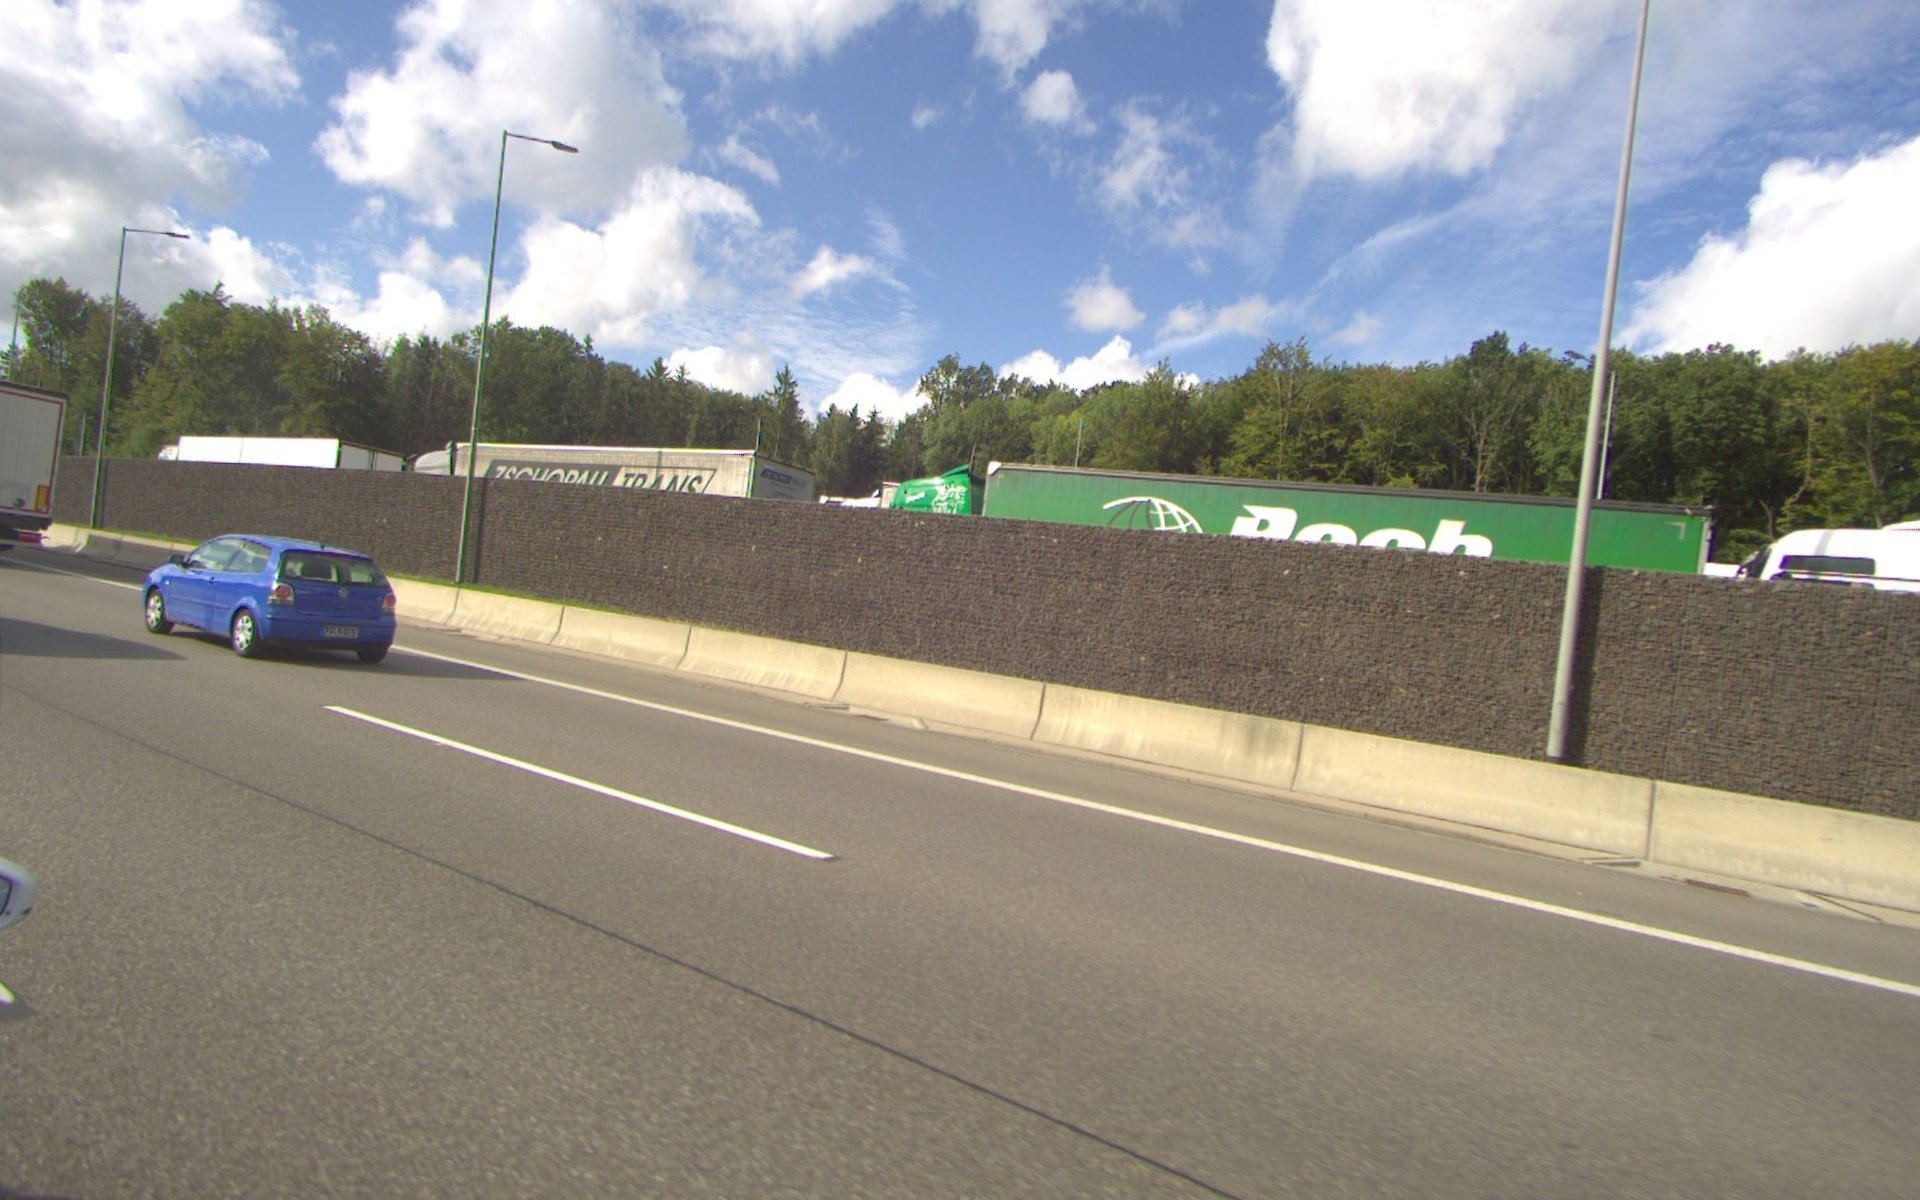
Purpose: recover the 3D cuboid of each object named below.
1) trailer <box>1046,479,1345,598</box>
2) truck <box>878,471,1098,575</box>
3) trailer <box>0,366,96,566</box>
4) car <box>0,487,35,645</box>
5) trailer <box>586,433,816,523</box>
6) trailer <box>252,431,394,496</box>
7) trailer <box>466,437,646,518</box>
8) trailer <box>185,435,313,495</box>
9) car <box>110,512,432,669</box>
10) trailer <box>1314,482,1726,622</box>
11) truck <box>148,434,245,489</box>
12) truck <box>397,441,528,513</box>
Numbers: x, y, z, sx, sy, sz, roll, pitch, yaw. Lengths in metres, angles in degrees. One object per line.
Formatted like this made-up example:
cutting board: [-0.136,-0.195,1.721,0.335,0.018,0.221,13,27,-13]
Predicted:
trailer: [4.890,-1.339,21.275,5.680,2.037,1.998,5,-3,31]
truck: [0.624,-1.846,23.963,4.704,2.037,2.049,4,-3,33]
trailer: [-26.409,-3.403,25.081,13.662,4.081,3.044,4,-2,32]
car: [-11.885,-0.646,10.584,4.568,1.559,1.927,7,-1,32]
trailer: [-7.512,-3.460,28.798,6.850,2.037,2.054,4,-3,31]
trailer: [-25.506,-5.480,40.214,6.216,2.038,2.133,7,0,31]
trailer: [-12.948,-3.884,32.128,5.907,2.037,2.049,5,-3,31]
trailer: [-30.713,-5.841,43.400,6.131,2.038,2.133,7,0,31]
car: [-9.008,-0.150,13.075,4.229,1.529,1.718,6,-1,31]
trailer: [9.877,-0.926,18.278,6.091,2.037,1.997,5,-3,31]
truck: [-34.943,-6.346,46.032,3.933,2.038,2.149,7,0,31]
truck: [-17.156,-4.213,34.685,4.029,2.037,2.049,5,-3,31]
